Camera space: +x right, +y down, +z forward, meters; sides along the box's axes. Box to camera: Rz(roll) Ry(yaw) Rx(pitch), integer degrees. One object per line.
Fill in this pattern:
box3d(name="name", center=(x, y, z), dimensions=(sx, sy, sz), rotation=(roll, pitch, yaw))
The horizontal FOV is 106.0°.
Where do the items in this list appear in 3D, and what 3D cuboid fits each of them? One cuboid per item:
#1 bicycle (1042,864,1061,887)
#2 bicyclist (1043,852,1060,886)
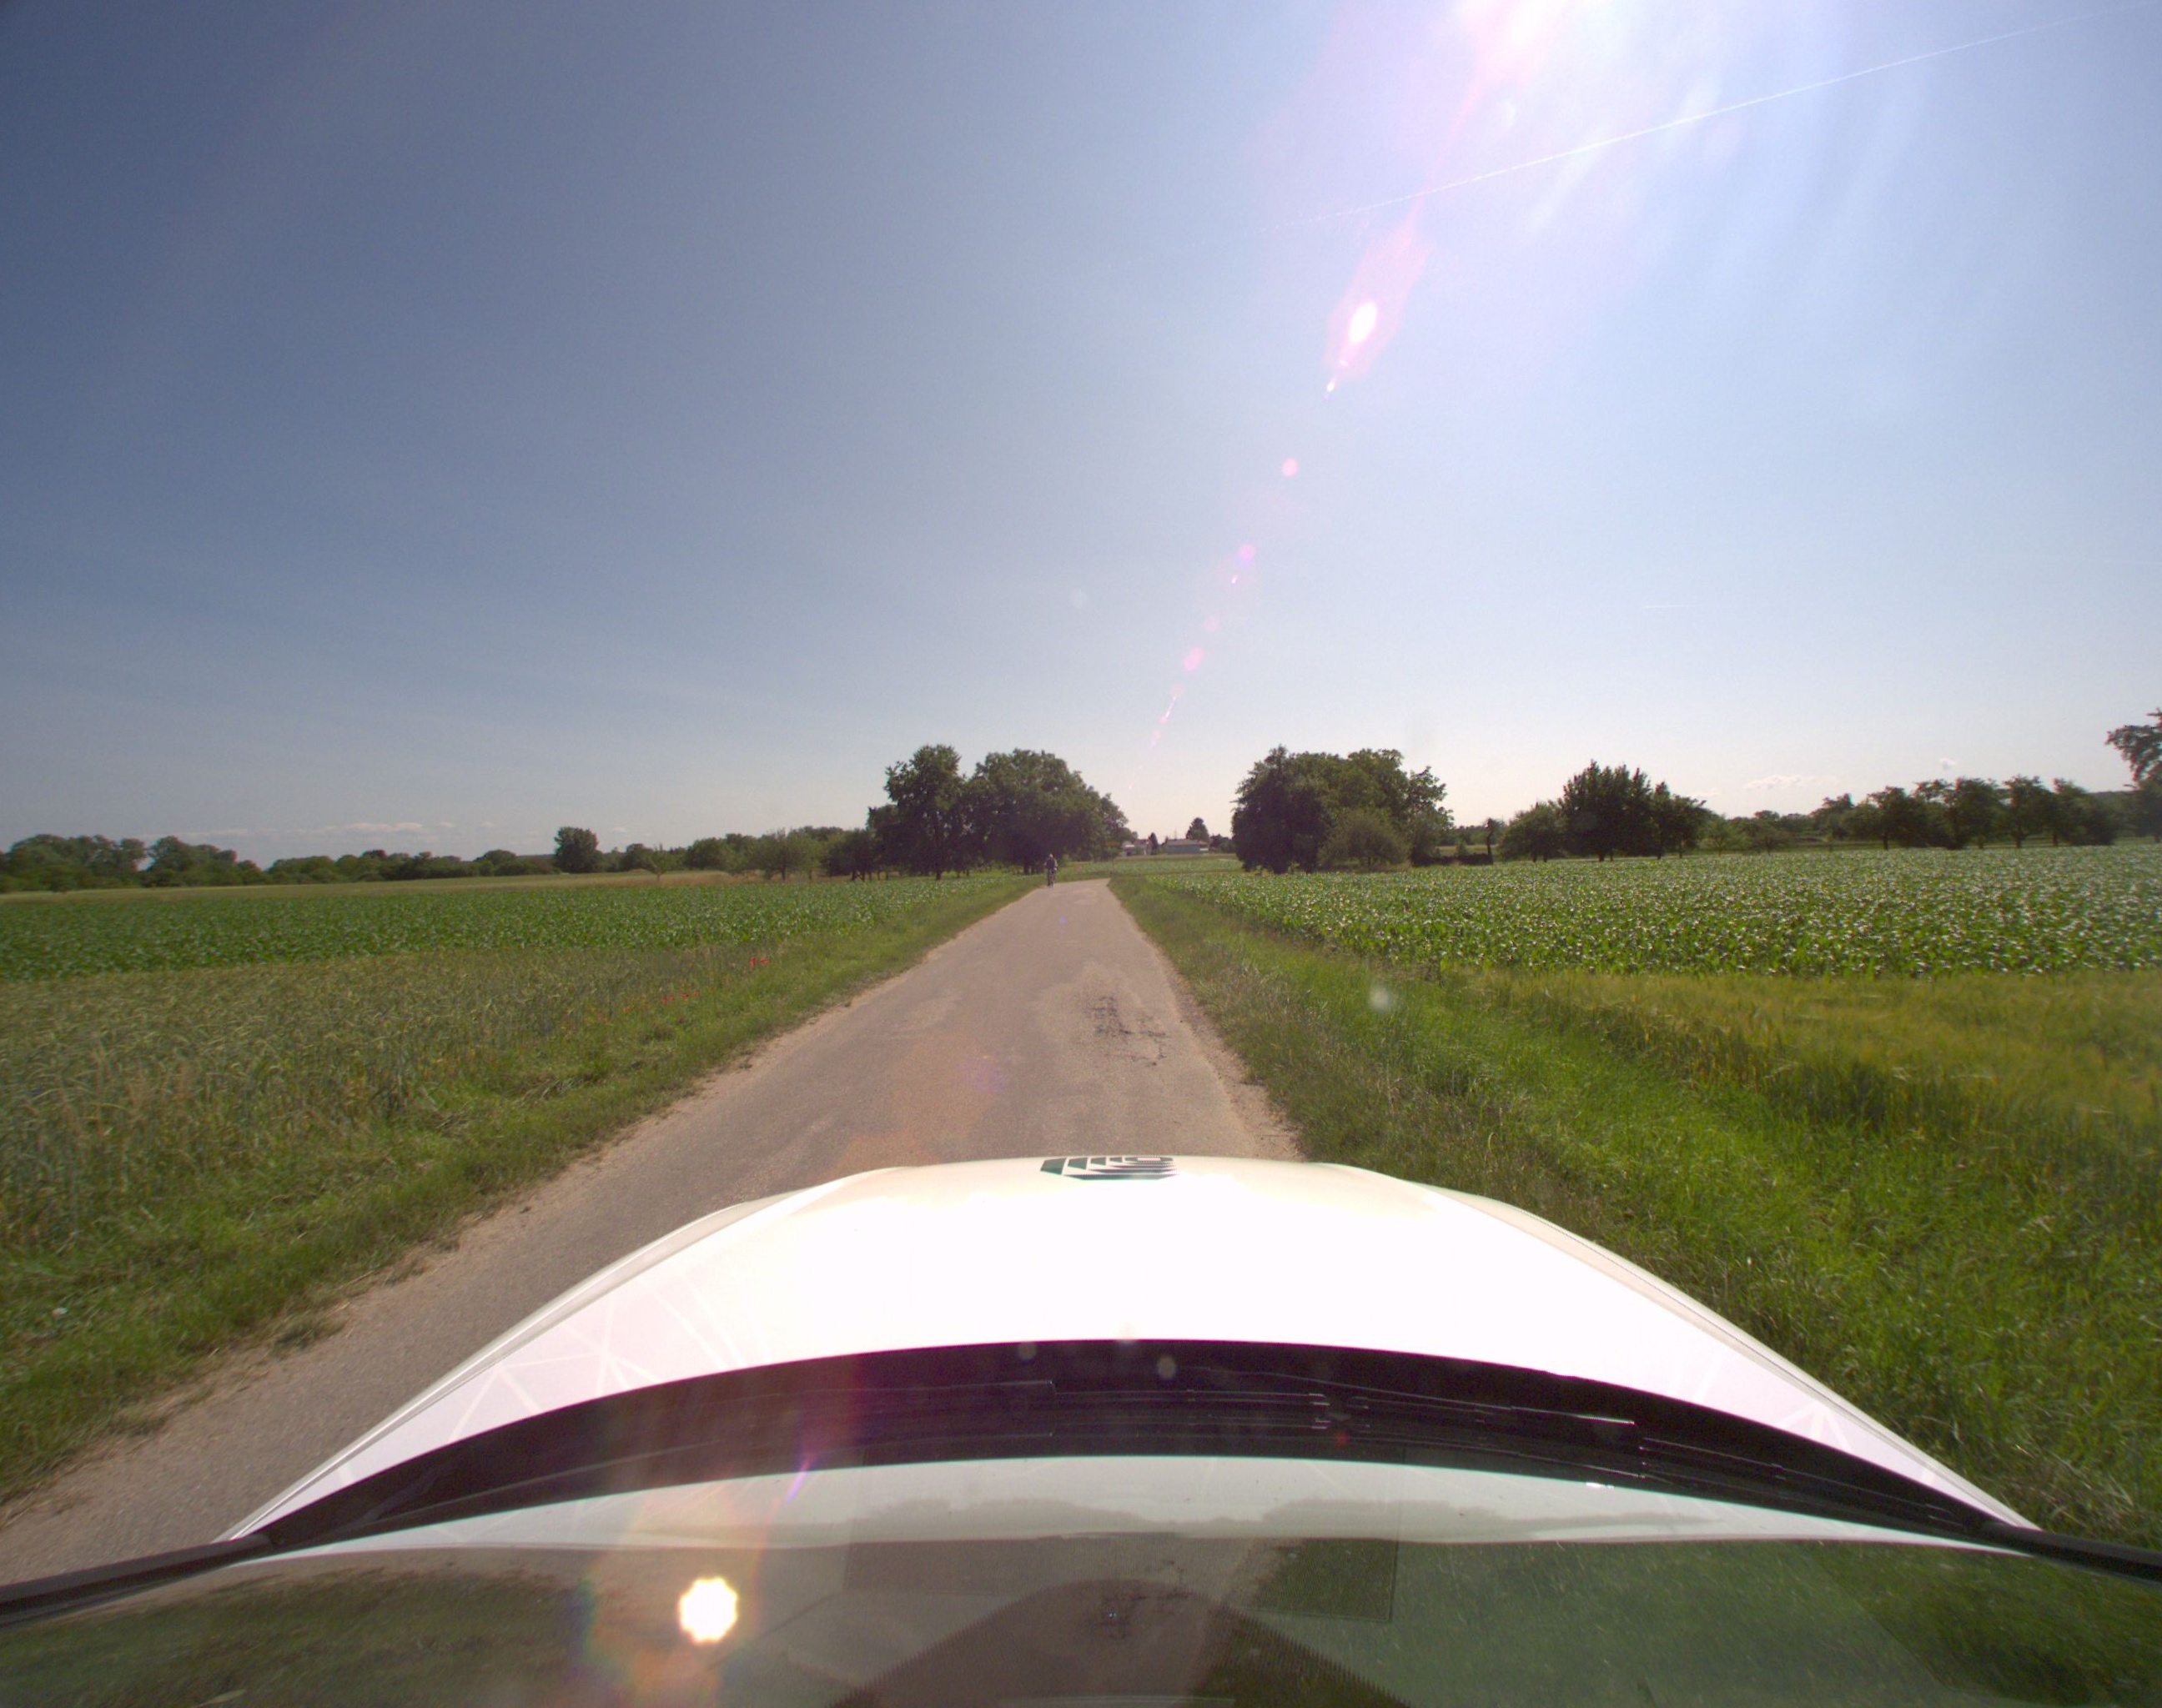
box3d(name="bicycle", center=(-1.598, 1.158, 44.277), dimensions=(0.747, 1.127, 1.911), rotation=(-4, -1, 5))
box3d(name="bicyclist", center=(-1.613, 0.821, 44.285), dimensions=(0.747, 1.791, 0.718), rotation=(-4, -1, 4))
